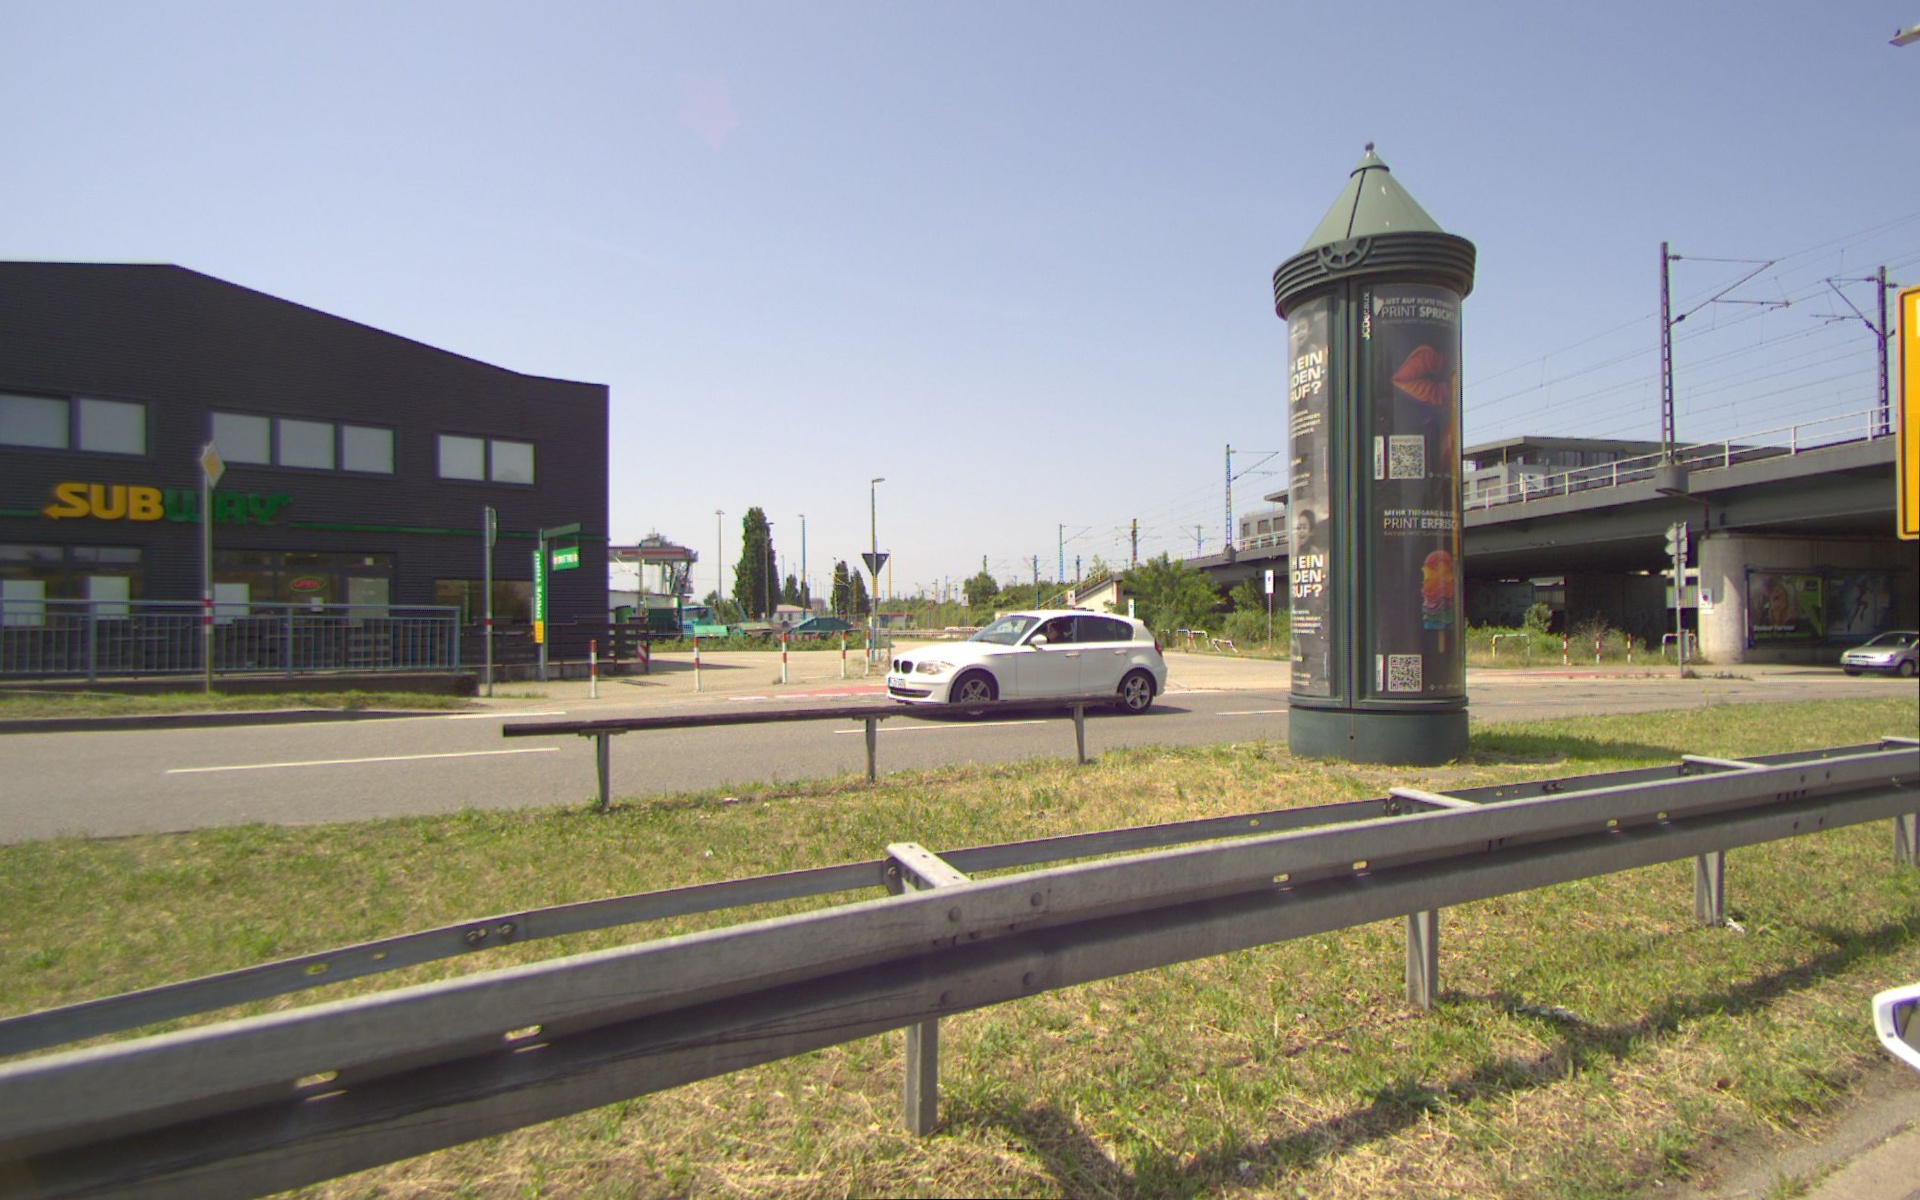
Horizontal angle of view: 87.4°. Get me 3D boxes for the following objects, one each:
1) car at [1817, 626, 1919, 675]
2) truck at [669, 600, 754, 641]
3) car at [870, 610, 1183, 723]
[{"bbox_3d":[29.492,1.618,31.441,3.928,1.460,1.997,1,-3,-10],"label":"car"},{"bbox_3d":[-19.675,1.712,79.904,2.810,2.966,6.850,-2,-4,27],"label":"truck"},{"bbox_3d":[0.984,0.878,14.116,4.165,1.398,1.647,2,-1,-29],"label":"car"}]
